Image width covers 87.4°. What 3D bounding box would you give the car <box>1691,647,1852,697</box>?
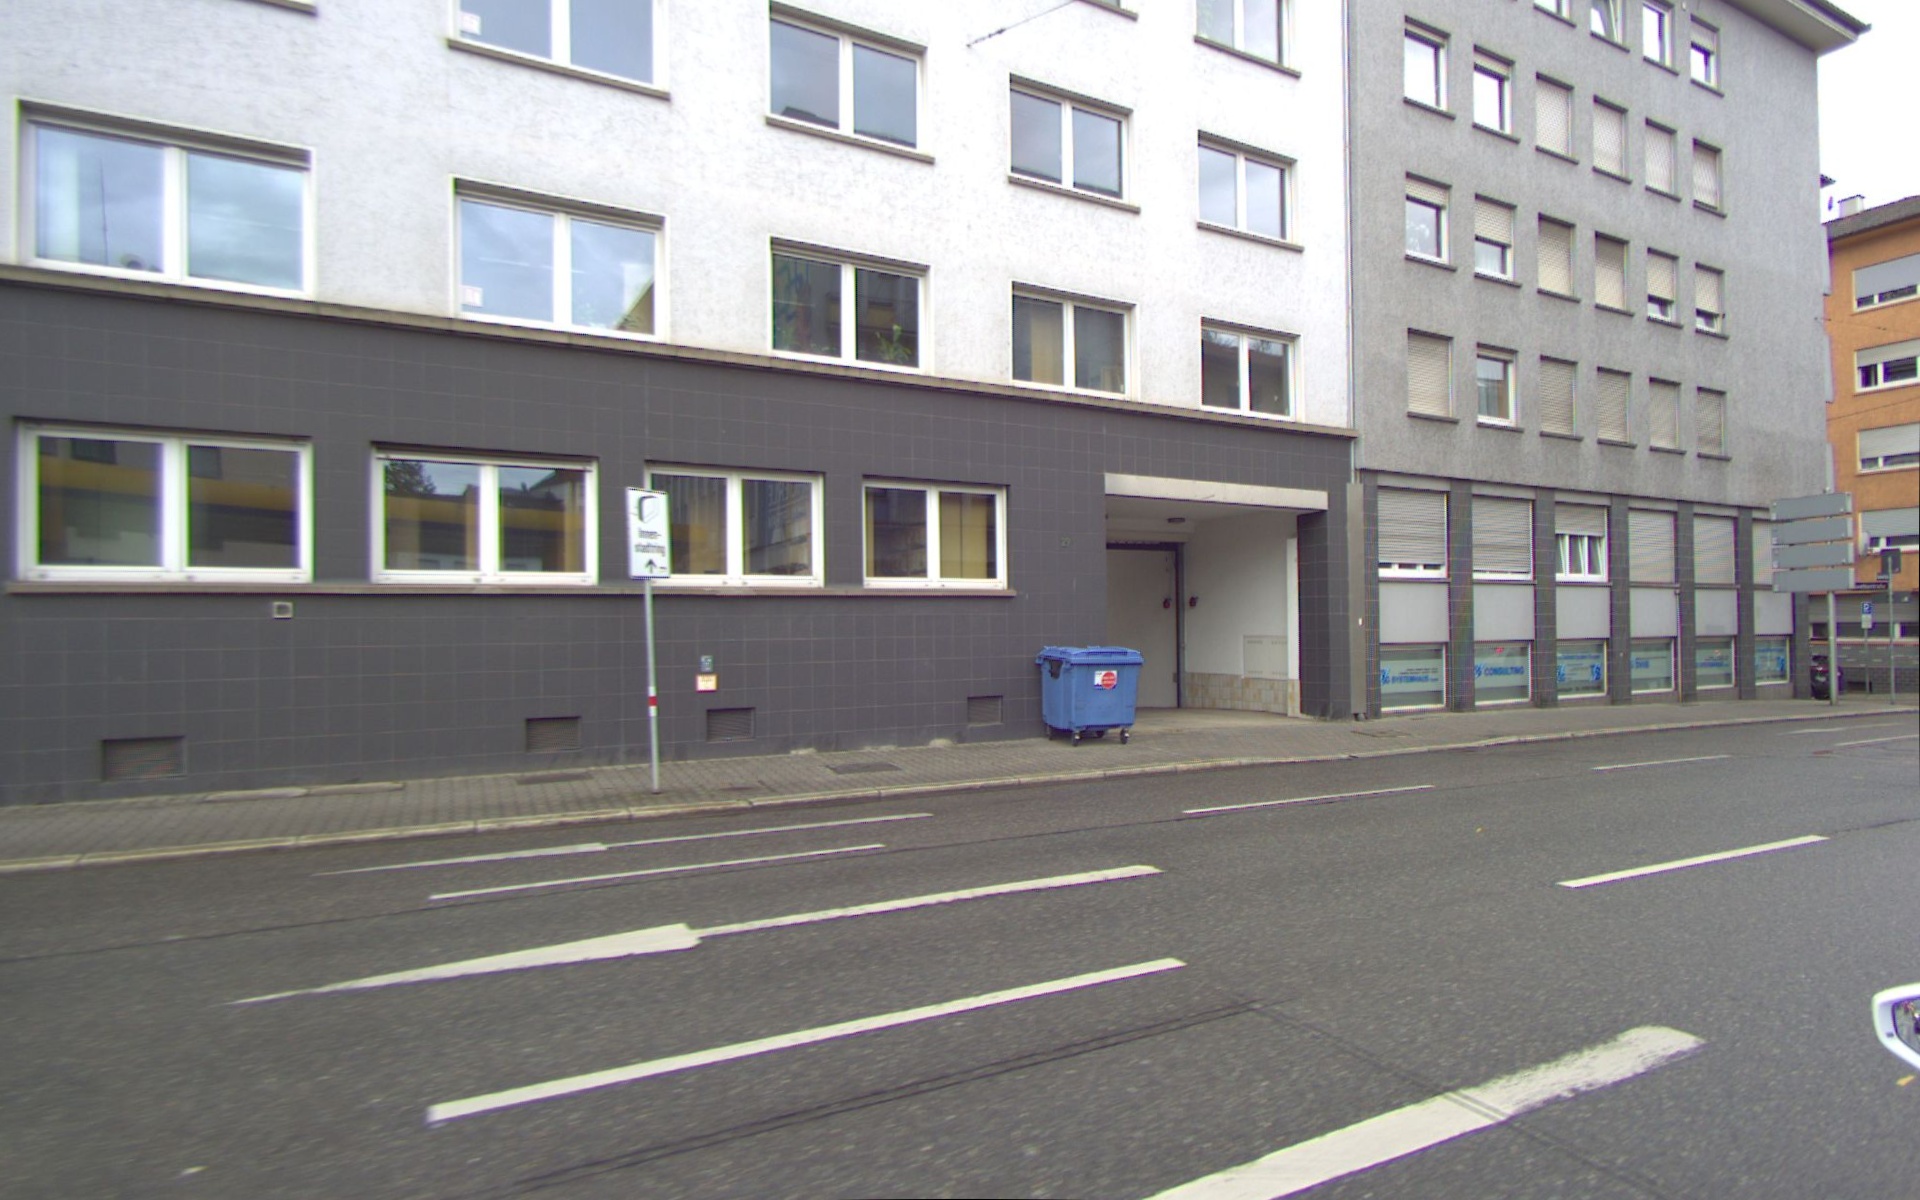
[{"bbox_3d":[28.789,2.587,35.773,1.905,1.673,3.974,1,-5,-27],"label":"car"}]

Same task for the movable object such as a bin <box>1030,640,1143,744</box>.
[{"bbox_3d":[1.787,1.269,14.288,1.175,1.342,1.072,1,1,-27],"label":"movable object such as a bin"}]

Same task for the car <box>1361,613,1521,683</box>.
[{"bbox_3d":[18.546,1.944,39.040,1.961,2.490,5.313,2,-5,-32],"label":"car"}]
